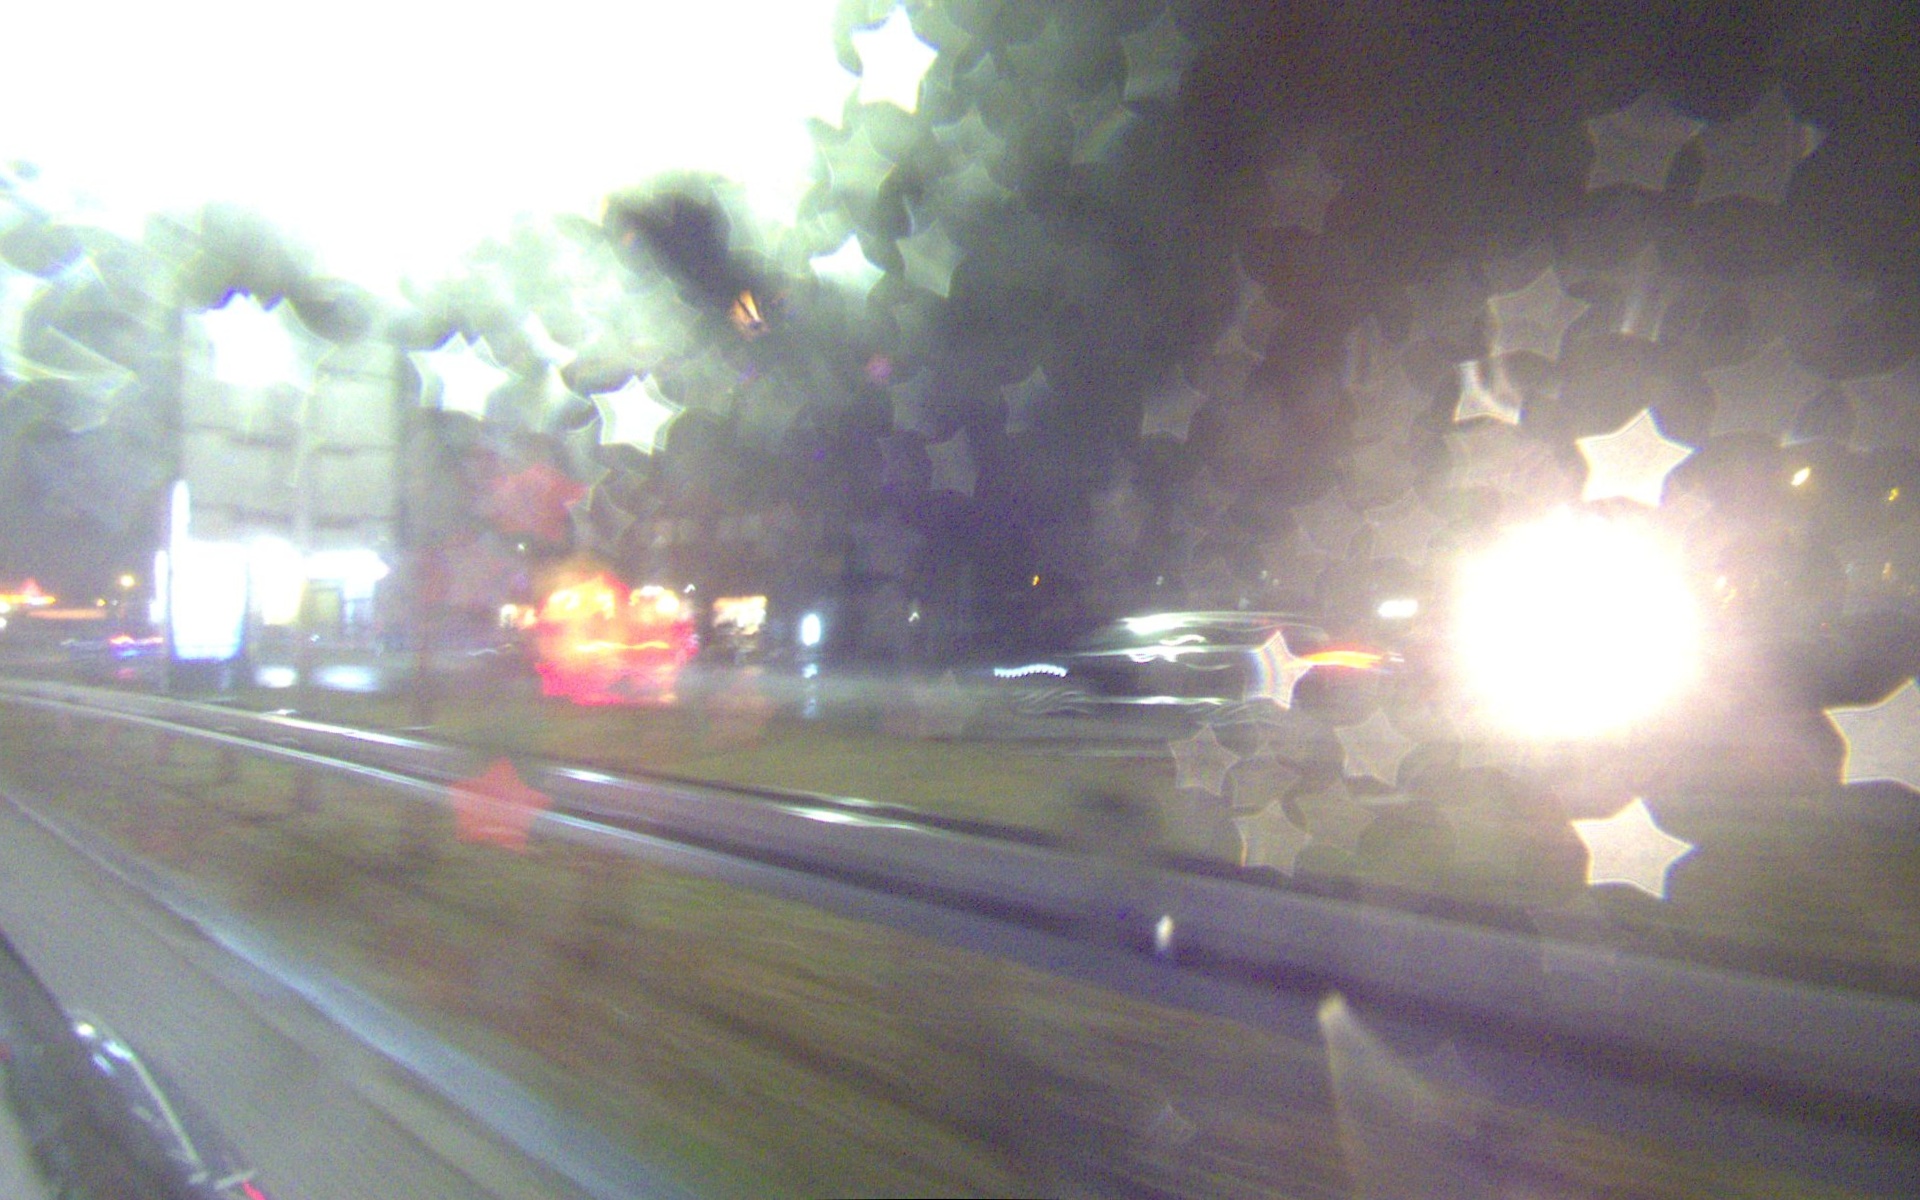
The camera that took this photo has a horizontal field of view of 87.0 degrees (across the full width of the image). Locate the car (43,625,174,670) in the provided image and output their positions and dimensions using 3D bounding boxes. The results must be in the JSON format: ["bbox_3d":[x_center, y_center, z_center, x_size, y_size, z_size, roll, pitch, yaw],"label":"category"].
[{"bbox_3d":[-28.829,1.583,34.240,4.821,1.400,1.882,-1,-1,30],"label":"car"}]

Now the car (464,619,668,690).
[{"bbox_3d":[-8.919,1.173,22.757,4.828,1.400,1.879,-1,-1,34],"label":"car"}]

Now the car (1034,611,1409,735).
[{"bbox_3d":[3.443,0.897,13.833,4.605,1.400,1.877,-2,-1,38],"label":"car"}]
